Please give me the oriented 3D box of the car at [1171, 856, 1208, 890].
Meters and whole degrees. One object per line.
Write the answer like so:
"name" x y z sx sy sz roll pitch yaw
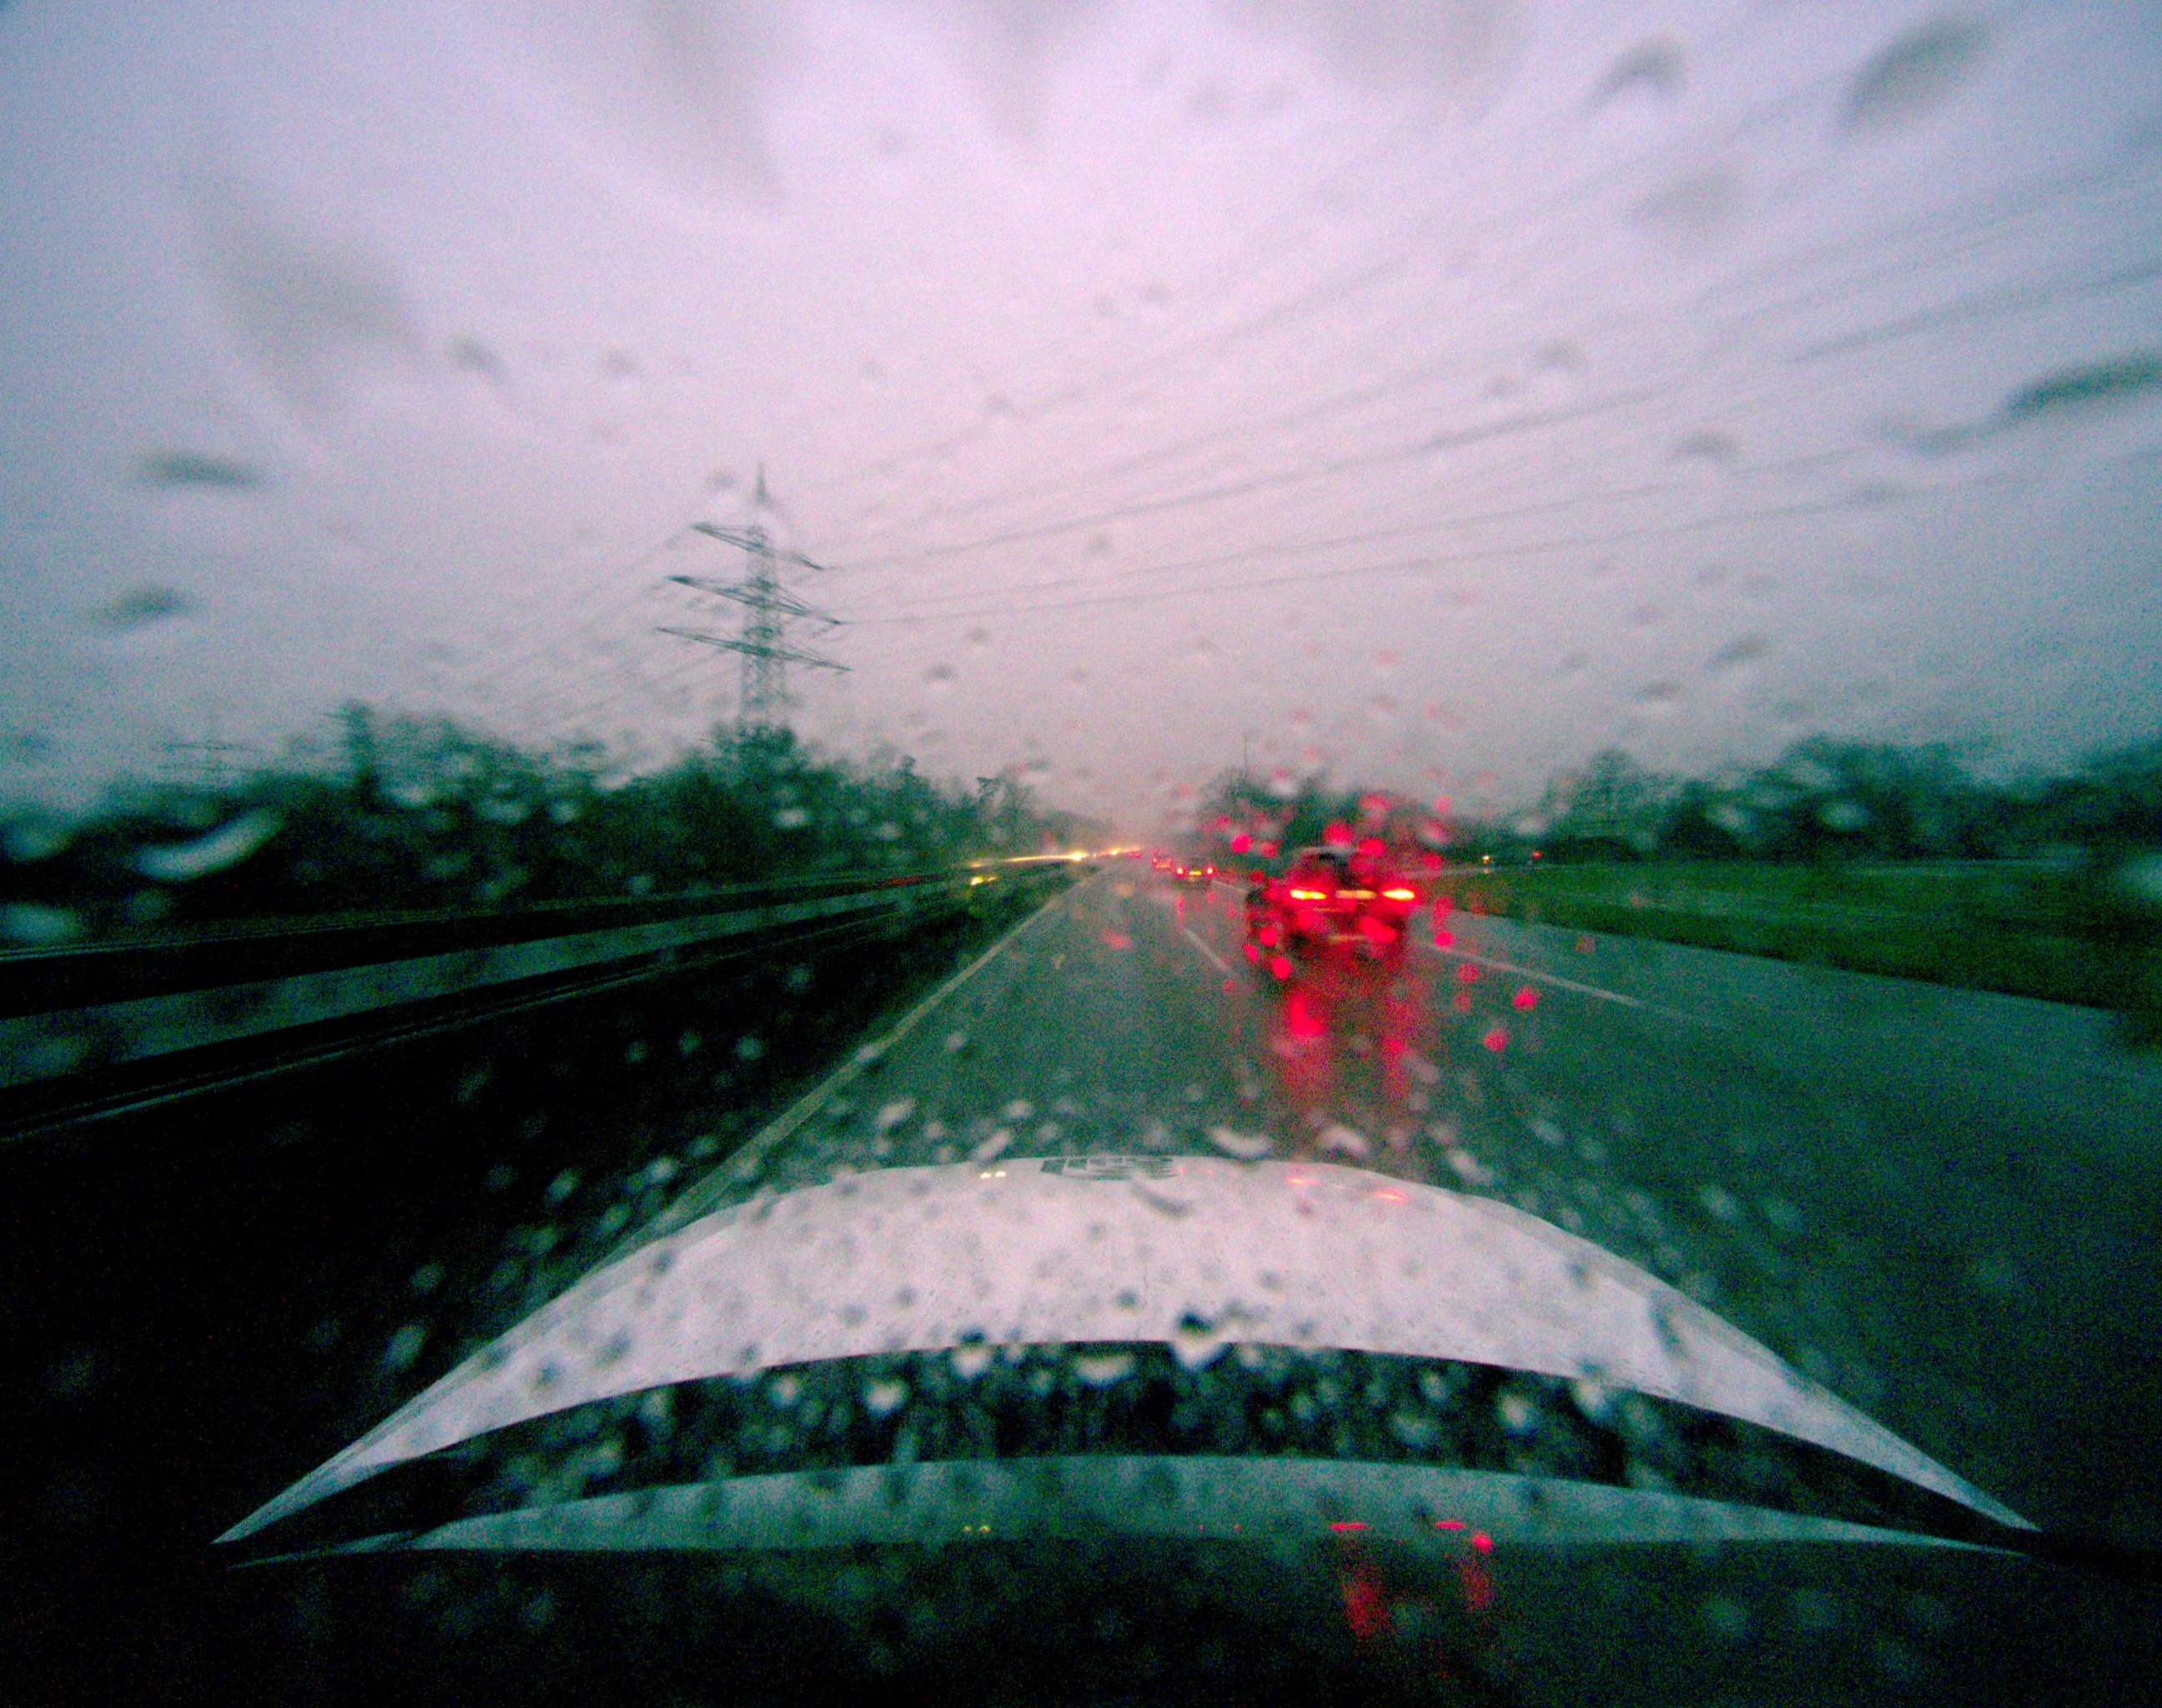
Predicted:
"car" 5.096 0.884 38.653 1.587 1.491 3.599 -1 0 5

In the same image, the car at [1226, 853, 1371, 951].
"car" 3.775 0.748 14.768 1.672 1.509 3.809 -1 0 1

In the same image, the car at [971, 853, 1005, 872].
"car" -7.602 0.679 66.914 1.917 1.439 4.554 -1 1 3

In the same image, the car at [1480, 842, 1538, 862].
"car" 32.190 -0.159 61.277 3.772 1.434 1.805 -1 0 28
